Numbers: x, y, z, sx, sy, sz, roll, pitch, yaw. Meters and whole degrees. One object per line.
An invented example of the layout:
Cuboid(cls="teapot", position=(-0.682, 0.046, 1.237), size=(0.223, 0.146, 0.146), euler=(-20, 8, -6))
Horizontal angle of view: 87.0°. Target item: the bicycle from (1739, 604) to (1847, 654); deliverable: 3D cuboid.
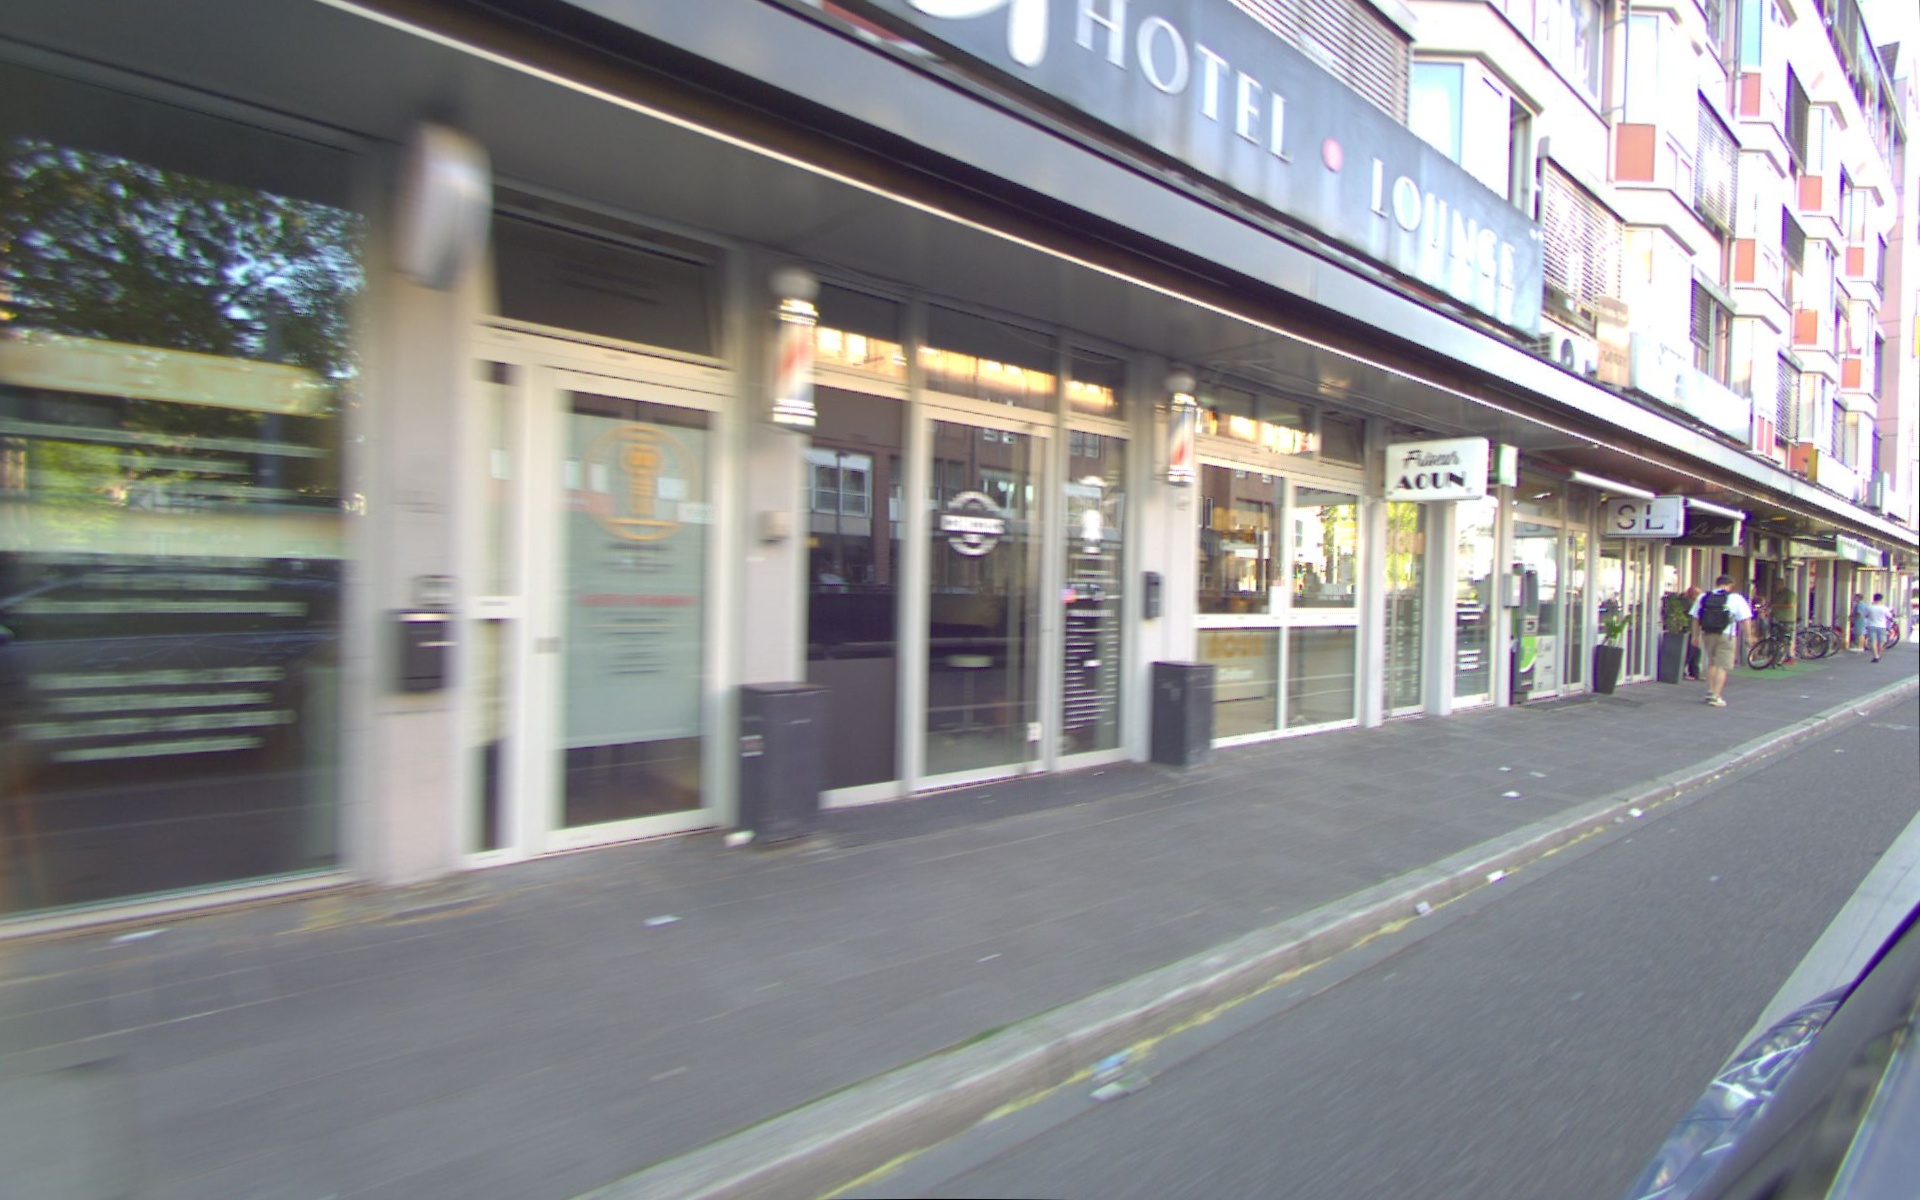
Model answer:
Cuboid(cls="bicycle", position=(20.179, 0.680, 24.547), size=(0.566, 1.073, 1.928), euler=(0, 3, -41))

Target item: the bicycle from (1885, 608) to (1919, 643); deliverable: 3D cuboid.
Cuboid(cls="bicycle", position=(29.632, 0.787, 31.774), size=(1.813, 0.988, 0.677), euler=(-1, 6, -45))

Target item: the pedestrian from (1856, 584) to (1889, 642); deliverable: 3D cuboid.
Cuboid(cls="pedestrian", position=(26.073, 0.381, 28.925), size=(0.451, 1.614, 0.409), euler=(2, 3, -13))

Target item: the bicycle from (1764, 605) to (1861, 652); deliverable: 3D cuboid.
Cuboid(cls="bicycle", position=(21.286, 0.689, 25.308), size=(0.496, 0.985, 1.737), euler=(1, 4, -36))

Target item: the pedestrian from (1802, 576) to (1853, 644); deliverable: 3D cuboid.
Cuboid(cls="pedestrian", position=(24.097, 0.270, 28.124), size=(0.721, 1.839, 0.804), euler=(1, 0, 12))

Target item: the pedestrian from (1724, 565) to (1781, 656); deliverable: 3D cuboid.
Cuboid(cls="pedestrian", position=(16.990, 0.206, 21.723), size=(0.773, 1.889, 0.680), euler=(3, 3, 29))

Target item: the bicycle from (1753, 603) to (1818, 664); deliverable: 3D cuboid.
Cuboid(cls="bicycle", position=(16.413, 0.644, 20.119), size=(1.764, 1.079, 0.659), euler=(0, 6, -42))

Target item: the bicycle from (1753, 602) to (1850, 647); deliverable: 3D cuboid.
Cuboid(cls="bicycle", position=(22.697, 0.632, 27.329), size=(0.567, 1.073, 1.927), euler=(0, 3, -43))

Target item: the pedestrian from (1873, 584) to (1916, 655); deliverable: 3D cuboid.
Cuboid(cls="pedestrian", position=(22.770, 0.460, 24.665), size=(0.758, 1.694, 0.633), euler=(0, 2, -41))

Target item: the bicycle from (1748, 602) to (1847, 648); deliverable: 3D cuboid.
Cuboid(cls="bicycle", position=(22.227, 0.631, 26.881), size=(0.567, 1.073, 1.927), euler=(0, 3, -43))

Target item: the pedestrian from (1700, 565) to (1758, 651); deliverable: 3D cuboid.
Cuboid(cls="pedestrian", position=(17.408, 0.169, 22.934), size=(0.769, 1.889, 0.684), euler=(2, 2, 18))

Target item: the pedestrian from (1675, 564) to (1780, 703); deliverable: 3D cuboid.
Cuboid(cls="pedestrian", position=(10.298, 0.409, 13.577), size=(1.042, 1.743, 0.800), euler=(0, 4, -40))

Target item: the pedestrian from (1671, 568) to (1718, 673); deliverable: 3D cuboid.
Cuboid(cls="pedestrian", position=(12.215, 0.321, 16.828), size=(0.540, 1.694, 0.462), euler=(3, 2, 40))

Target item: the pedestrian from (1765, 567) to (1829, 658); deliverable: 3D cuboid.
Cuboid(cls="pedestrian", position=(18.094, 0.243, 21.880), size=(0.766, 1.889, 0.915), euler=(0, 3, -44))
